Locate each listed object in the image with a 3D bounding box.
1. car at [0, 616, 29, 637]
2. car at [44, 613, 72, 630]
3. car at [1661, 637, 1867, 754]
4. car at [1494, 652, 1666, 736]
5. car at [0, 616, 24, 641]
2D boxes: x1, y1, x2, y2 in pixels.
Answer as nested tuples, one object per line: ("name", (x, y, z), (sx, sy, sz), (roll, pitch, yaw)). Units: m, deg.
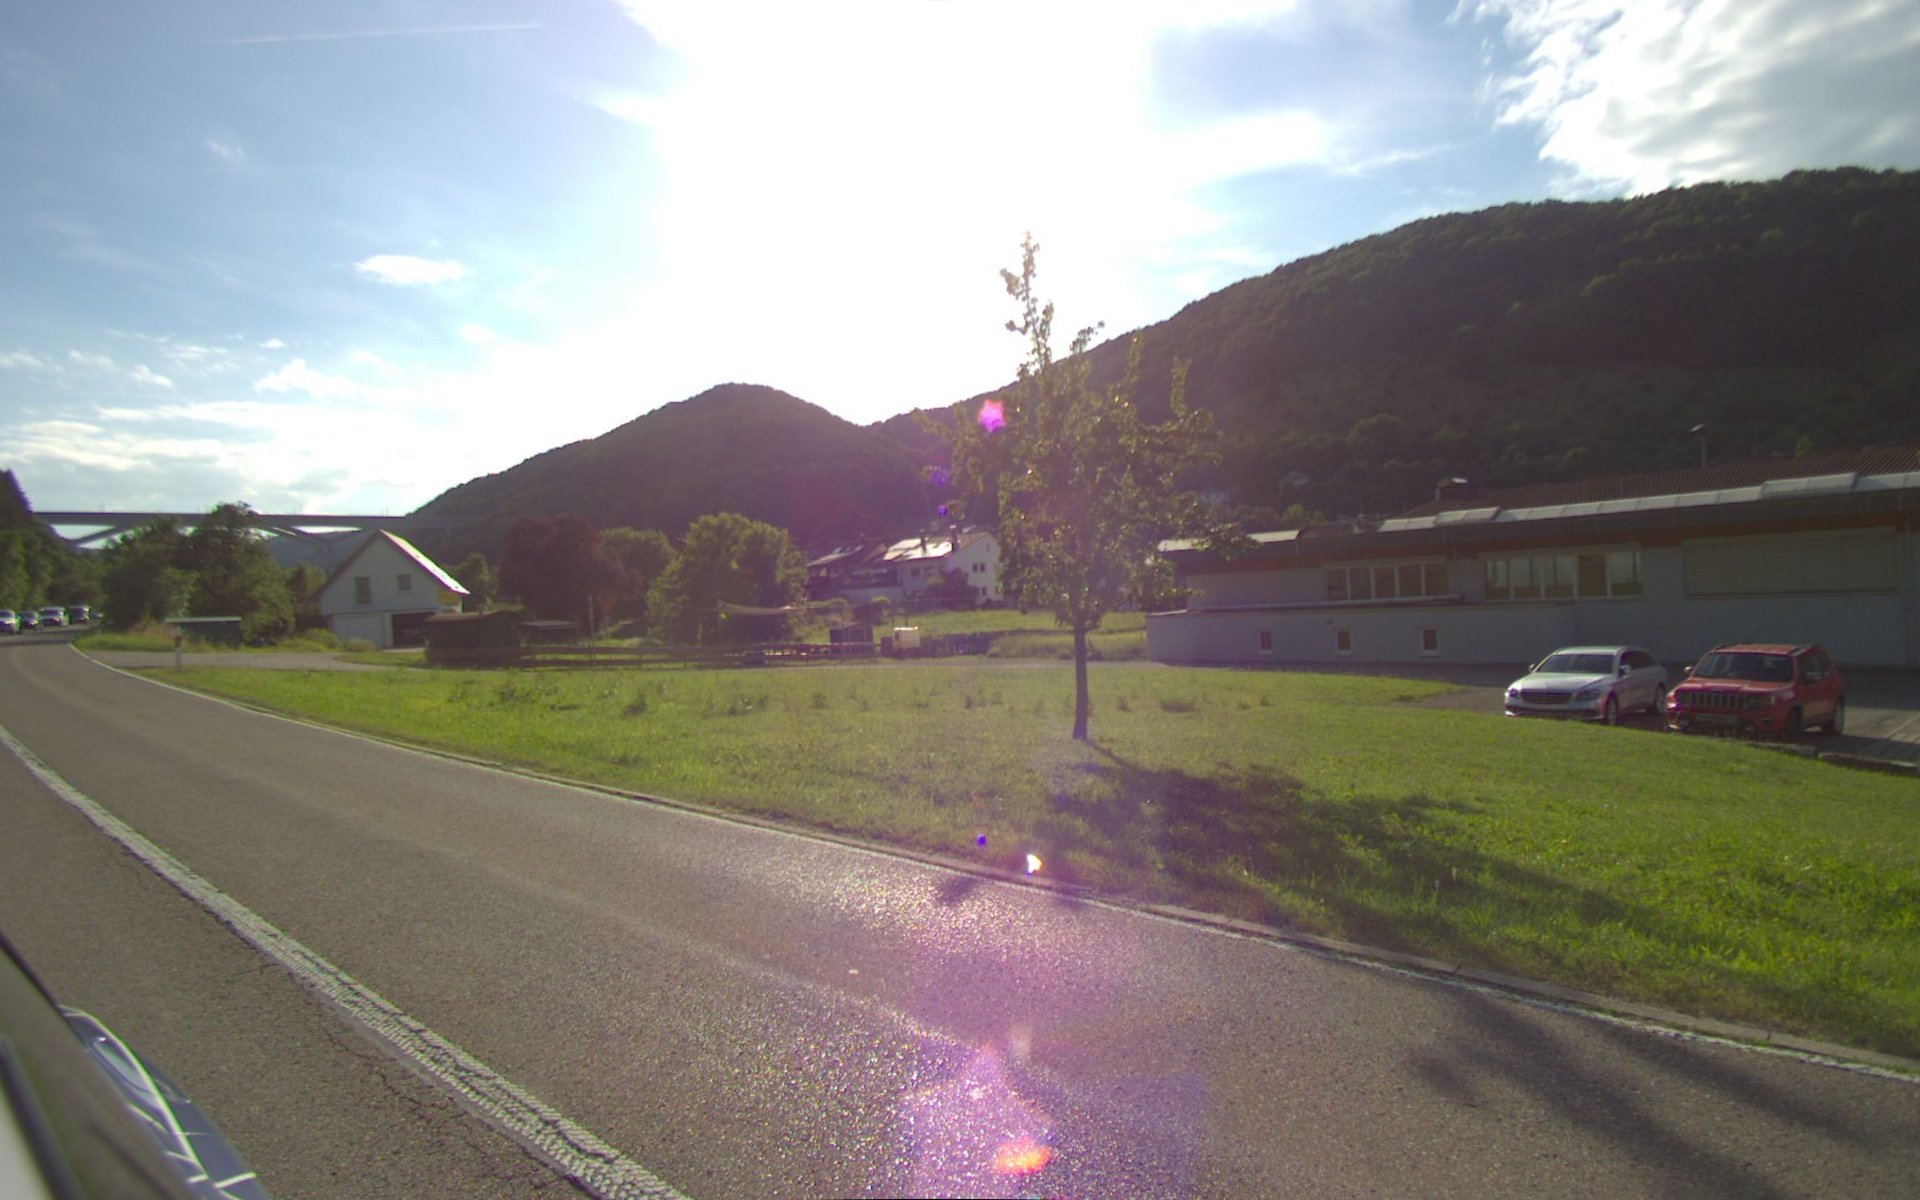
("car", (-71.619, 1.960, 76.589), (1.606, 1.490, 3.684), (-1, 0, -41))
("car", (-80.290, 1.877, 90.053), (3.681, 1.490, 1.608), (-1, 0, 44))
("car", (14.578, 1.607, 18.283), (4.264, 1.682, 1.852), (-1, 0, -36))
("car", (12.742, 1.844, 20.726), (3.837, 1.379, 1.856), (0, 0, -40))
("car", (-61.564, 1.816, 65.115), (3.678, 1.490, 1.609), (-1, 0, 42))
